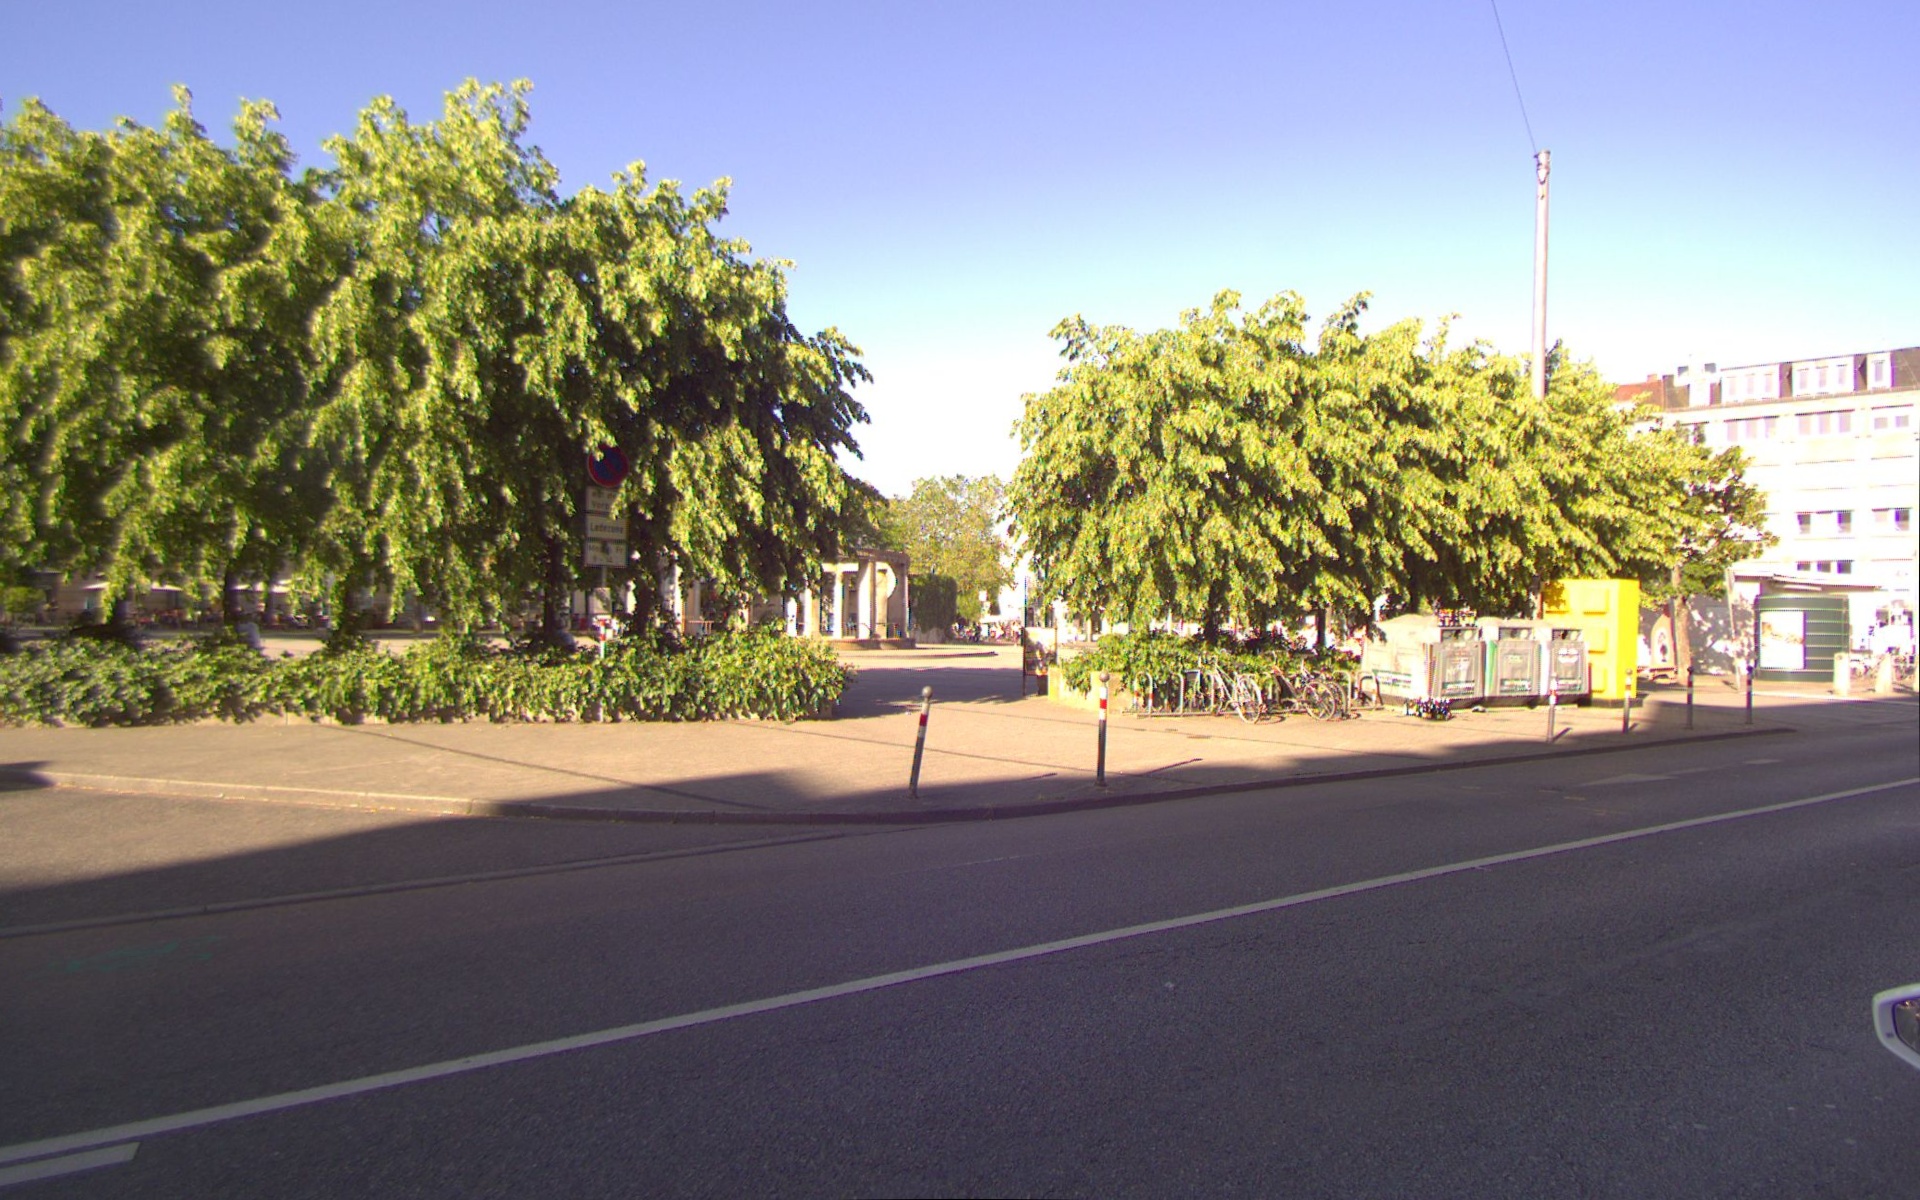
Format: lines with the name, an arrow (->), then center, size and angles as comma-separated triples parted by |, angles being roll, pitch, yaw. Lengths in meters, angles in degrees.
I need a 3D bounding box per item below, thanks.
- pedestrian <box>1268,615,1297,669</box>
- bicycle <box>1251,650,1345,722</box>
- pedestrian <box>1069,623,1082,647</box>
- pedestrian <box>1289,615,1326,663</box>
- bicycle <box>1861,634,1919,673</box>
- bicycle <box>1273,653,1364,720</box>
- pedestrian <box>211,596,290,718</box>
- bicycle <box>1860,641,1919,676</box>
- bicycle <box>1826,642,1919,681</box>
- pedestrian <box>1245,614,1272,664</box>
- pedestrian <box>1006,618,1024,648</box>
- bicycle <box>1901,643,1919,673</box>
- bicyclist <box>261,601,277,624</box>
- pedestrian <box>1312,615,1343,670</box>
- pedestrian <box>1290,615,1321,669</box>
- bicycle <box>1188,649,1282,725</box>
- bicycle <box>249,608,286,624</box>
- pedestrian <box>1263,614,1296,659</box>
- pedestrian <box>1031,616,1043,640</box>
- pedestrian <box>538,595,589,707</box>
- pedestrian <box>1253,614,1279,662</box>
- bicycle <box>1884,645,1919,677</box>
pedestrian -> 12.600, 1.622, 39.228 | 0.886, 2.040, 0.993 | 1, 0, 7
bicycle -> 5.397, 1.355, 16.129 | 0.425, 1.036, 1.561 | 1, -1, -28
pedestrian -> 10.020, 3.020, 87.033 | 0.886, 2.040, 1.403 | 1, -1, 12
pedestrian -> 14.979, 1.658, 43.284 | 0.890, 2.040, 1.280 | 1, -1, -18
bicycle -> 34.492, 1.944, 36.522 | 0.913, 1.341, 2.461 | 1, -1, -35
bicycle -> 5.844, 1.388, 16.426 | 0.425, 0.971, 1.518 | 0, 0, -28
pedestrian -> -10.742, 0.844, 15.237 | 0.725, 1.781, 0.895 | 1, -1, -19
bicycle -> 33.131, 2.038, 35.033 | 0.833, 1.171, 2.449 | 1, -1, -31
bicycle -> 30.916, 2.057, 33.868 | 0.833, 1.171, 2.493 | 1, -1, -31
pedestrian -> 12.580, 1.637, 42.371 | 0.886, 2.040, 0.993 | 1, 0, 7
pedestrian -> 3.791, 2.309, 69.484 | 0.892, 2.040, 0.987 | 1, 0, -24
bicycle -> 38.689, 2.316, 39.508 | 0.834, 1.171, 2.308 | 1, -1, -34
bicyclist -> -44.287, 0.779, 64.392 | 0.663, 1.447, 0.695 | 1, -1, 40
pedestrian -> 13.952, 1.608, 38.190 | 0.886, 2.040, 0.993 | 1, 0, 7
pedestrian -> 13.141, 1.588, 38.244 | 0.886, 2.040, 0.993 | 1, 0, 7
bicycle -> 4.228, 1.322, 15.546 | 0.425, 1.031, 1.590 | 1, 0, -28
bicycle -> -44.343, 1.015, 64.343 | 0.580, 0.966, 1.899 | 1, -1, 38
pedestrian -> 14.963, 1.706, 47.060 | 0.890, 2.040, 1.217 | 1, -1, -17
pedestrian -> 6.654, 2.412, 86.695 | 0.887, 2.040, 1.402 | 1, 0, -2
pedestrian -> -6.540, 0.823, 16.609 | 0.725, 1.781, 0.895 | 1, -1, -19
pedestrian -> 13.216, 1.643, 43.378 | 0.886, 2.040, 0.993 | 1, 0, 7
bicycle -> 36.765, 2.328, 38.029 | 0.834, 1.171, 2.517 | 1, -1, -34
